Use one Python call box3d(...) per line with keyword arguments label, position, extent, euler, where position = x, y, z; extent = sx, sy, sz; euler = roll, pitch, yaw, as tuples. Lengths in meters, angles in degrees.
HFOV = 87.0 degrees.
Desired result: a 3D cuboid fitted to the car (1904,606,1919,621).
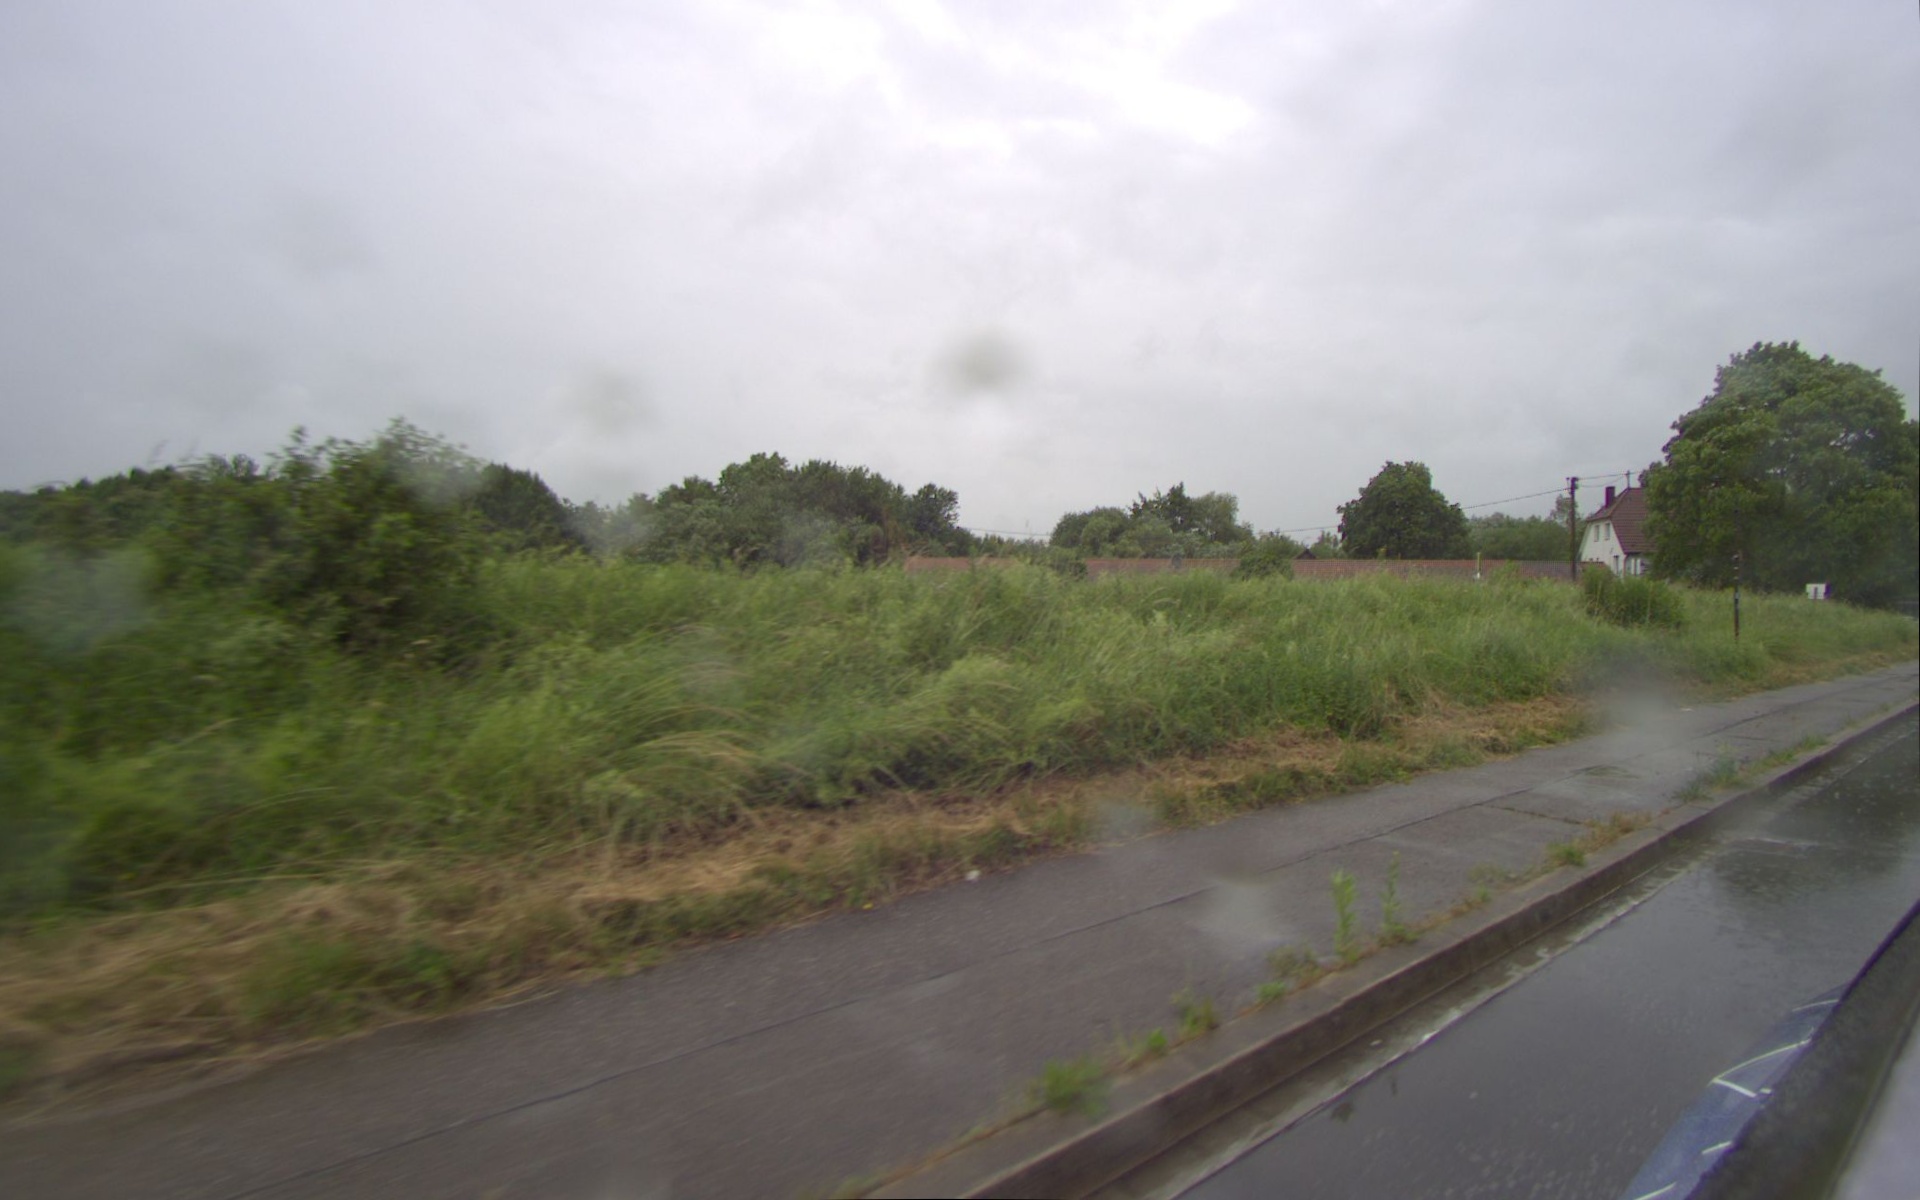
box3d(label="car", position=(86.513, 1.191, 90.947), extent=(2.131, 1.366, 4.247), euler=(-1, -1, 38))
